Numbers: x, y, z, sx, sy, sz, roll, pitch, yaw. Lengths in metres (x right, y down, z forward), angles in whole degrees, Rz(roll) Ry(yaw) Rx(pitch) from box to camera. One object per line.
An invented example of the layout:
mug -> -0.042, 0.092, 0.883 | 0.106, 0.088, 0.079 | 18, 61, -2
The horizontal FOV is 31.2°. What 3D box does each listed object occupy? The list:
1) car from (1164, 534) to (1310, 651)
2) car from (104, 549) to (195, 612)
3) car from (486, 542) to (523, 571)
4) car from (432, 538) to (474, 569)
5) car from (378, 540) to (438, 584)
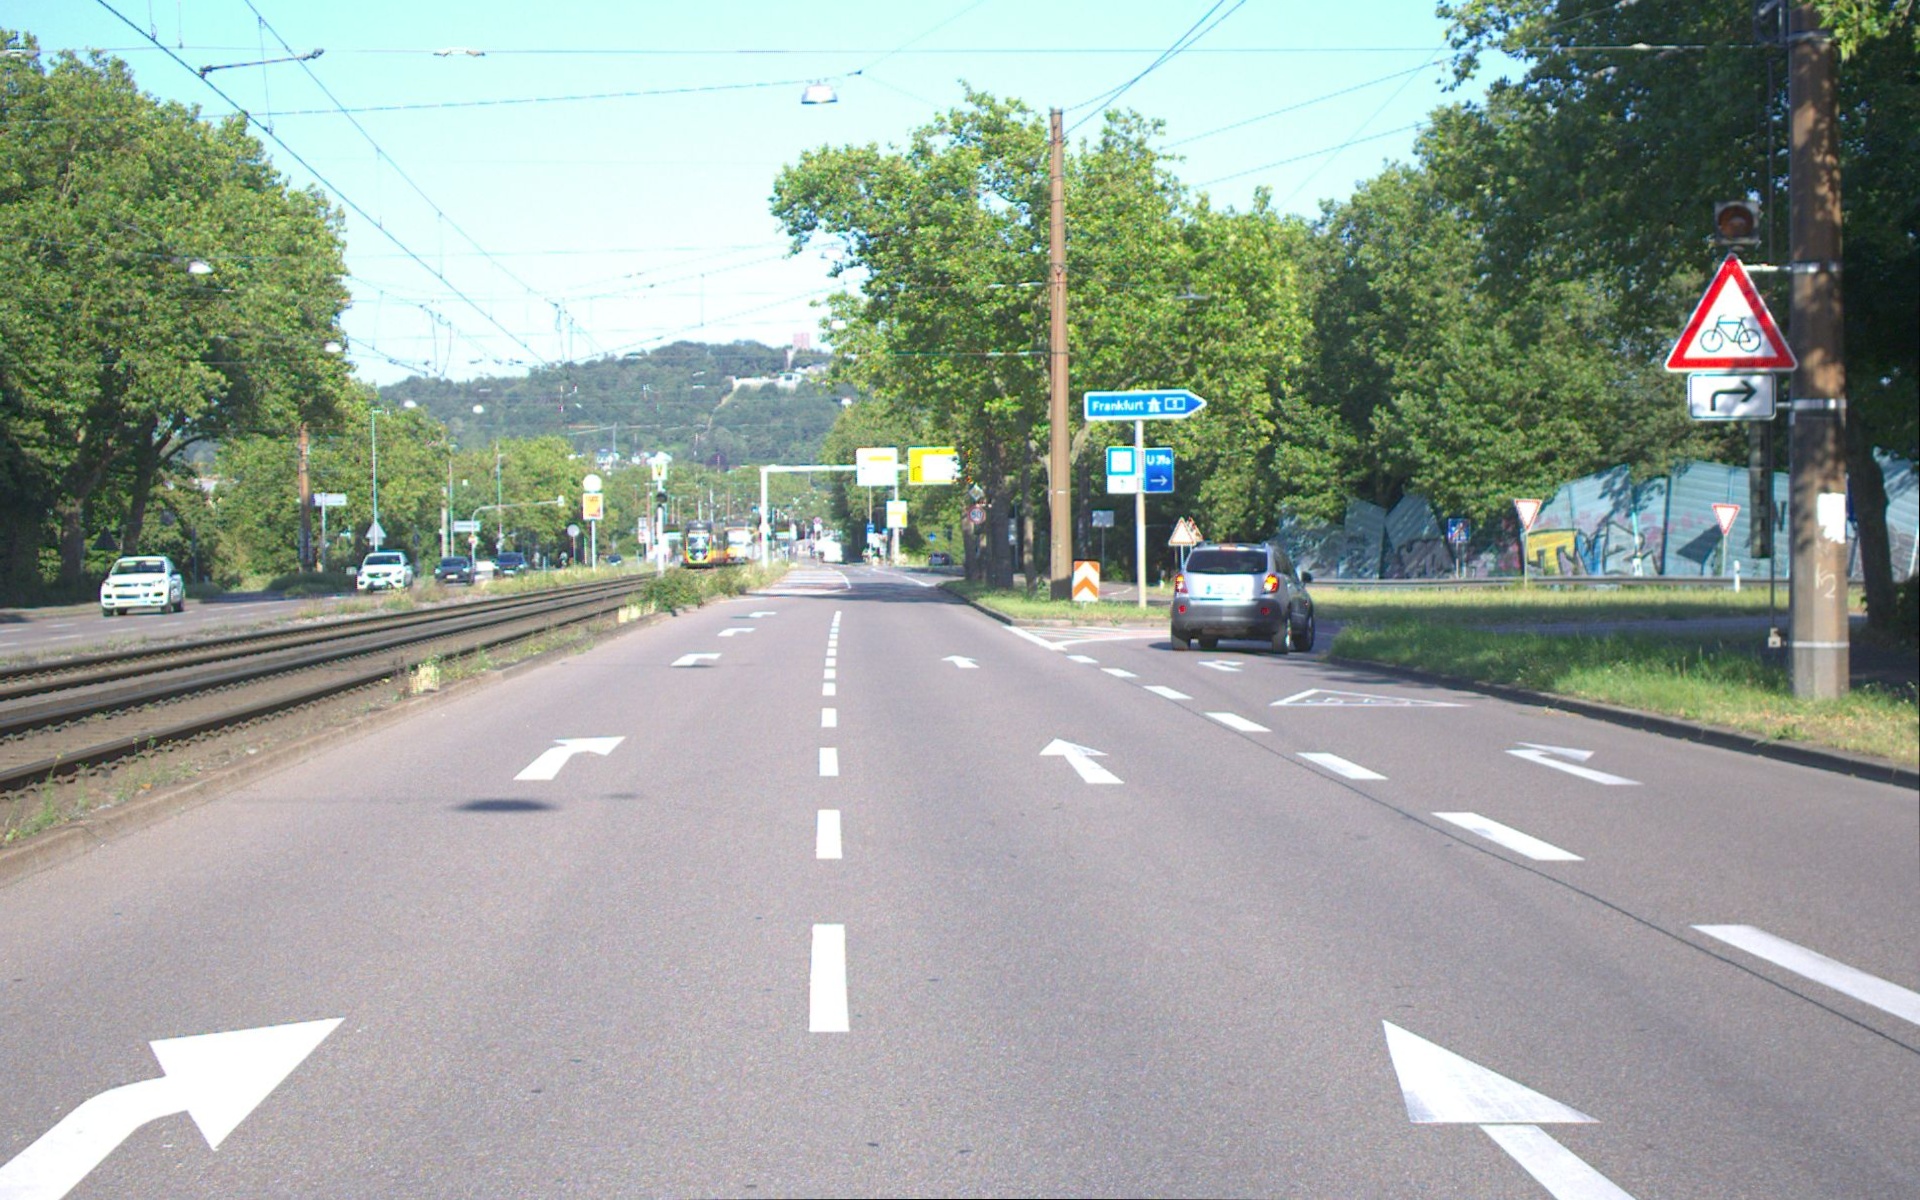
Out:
car -> 4.439, -0.140, 54.613 | 1.810, 1.767, 3.860 | 1, 1, 12
car -> -23.752, -0.577, 100.883 | 1.846, 1.728, 4.933 | -3, 1, -5
car -> -27.739, -2.665, 209.398 | 1.898, 1.688, 4.942 | -2, 1, -4
car -> -25.928, -2.377, 175.953 | 1.710, 1.463, 4.348 | -3, 1, -4
car -> -22.852, -1.565, 142.441 | 1.962, 1.701, 4.945 | -3, 1, -4
